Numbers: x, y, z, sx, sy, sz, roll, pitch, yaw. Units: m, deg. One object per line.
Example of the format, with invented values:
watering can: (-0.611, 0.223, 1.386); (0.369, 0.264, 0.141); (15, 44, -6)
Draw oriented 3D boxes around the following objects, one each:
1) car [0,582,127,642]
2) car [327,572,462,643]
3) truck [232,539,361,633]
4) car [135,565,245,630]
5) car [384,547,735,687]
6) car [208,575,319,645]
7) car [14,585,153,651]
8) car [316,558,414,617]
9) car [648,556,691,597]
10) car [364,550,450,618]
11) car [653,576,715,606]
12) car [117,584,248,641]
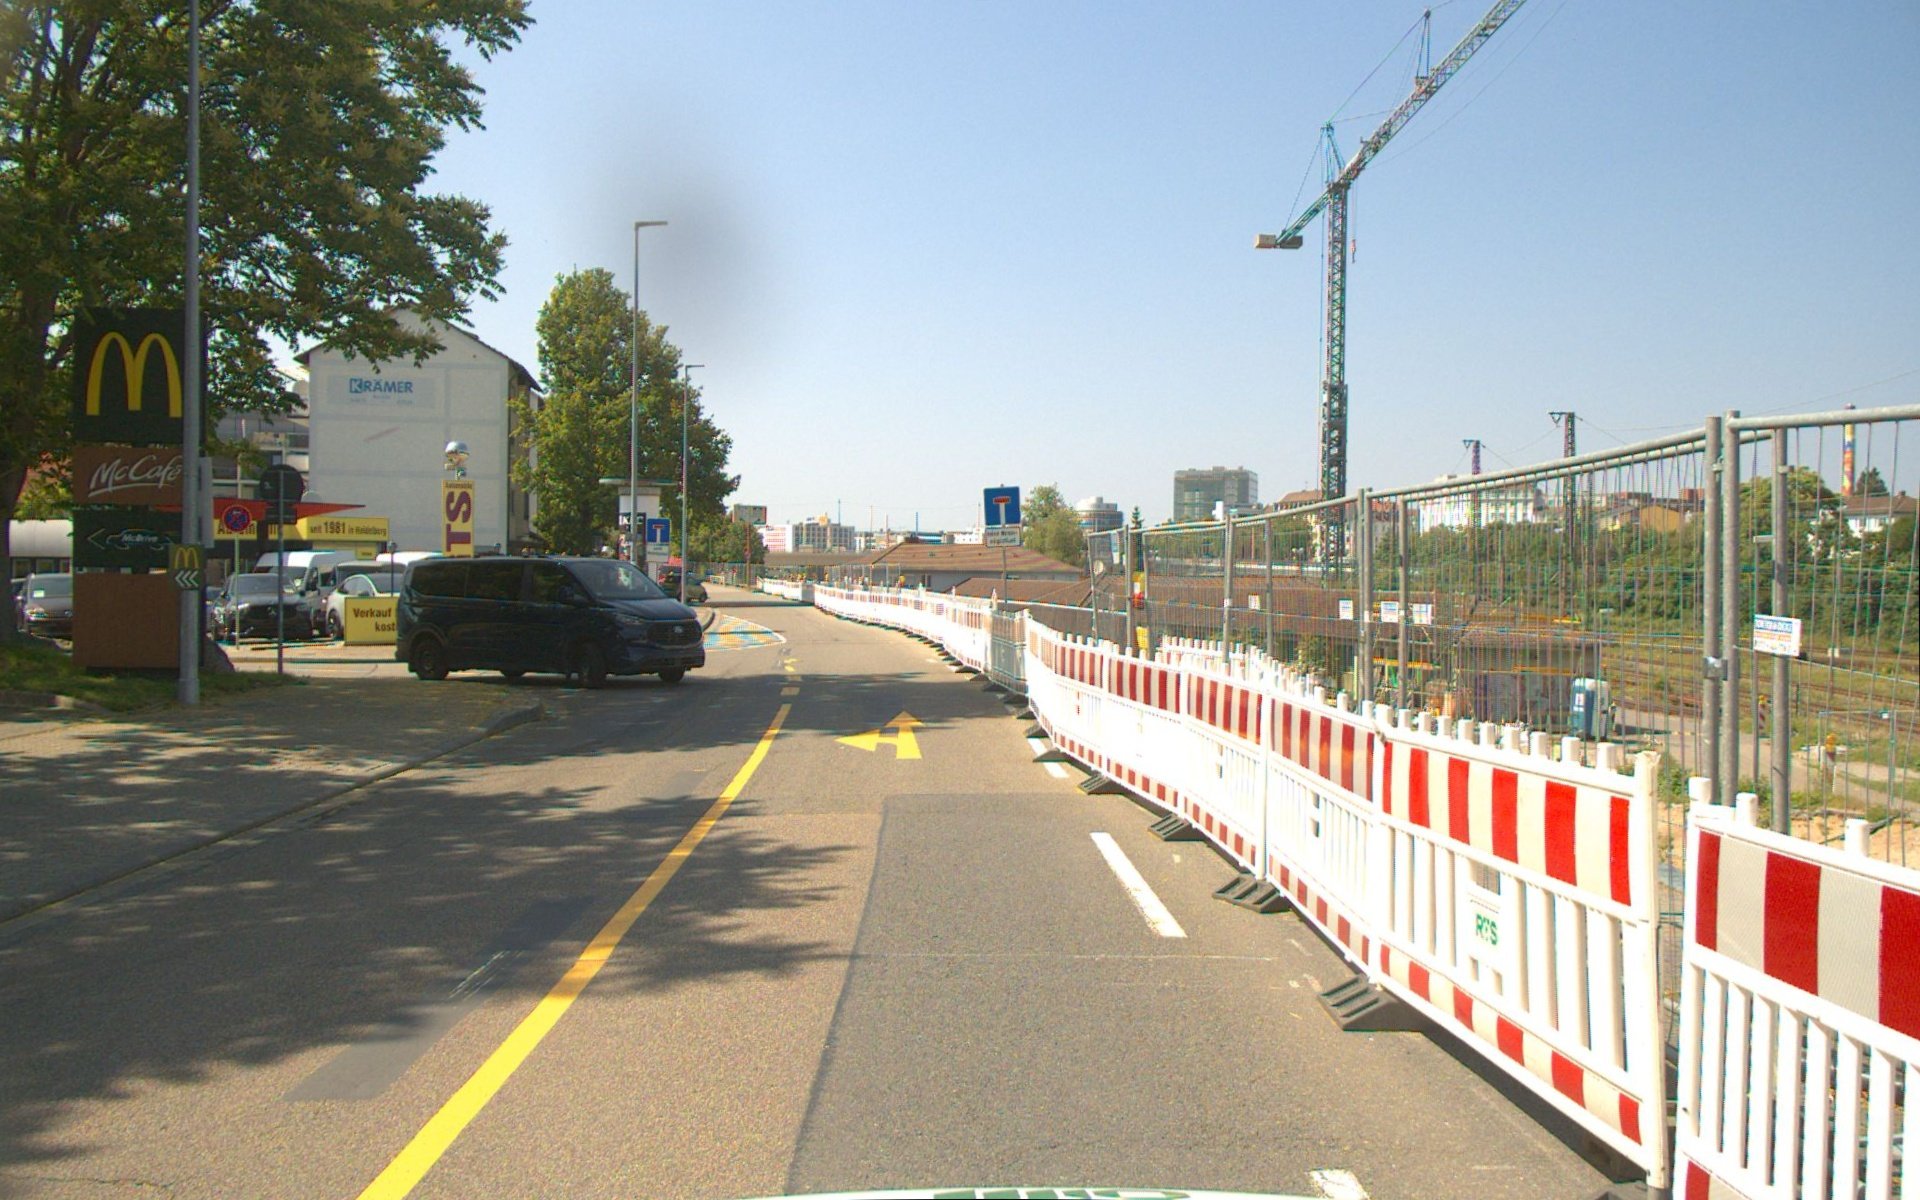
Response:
car: (-26.017, 0.331, 46.429); (4.303, 1.613, 1.967); (1, 0, -45)
car: (-14.749, 0.184, 43.037); (1.982, 1.756, 3.940); (1, 0, -41)
truck: (-22.325, -0.455, 55.931); (2.224, 2.954, 5.938); (2, 0, -4)
car: (-25.497, -0.081, 54.944); (1.955, 2.049, 4.489); (1, 0, -6)
car: (-6.316, 0.248, 25.917); (5.326, 2.002, 2.179); (-1, 1, 31)
car: (-17.304, 0.241, 40.976); (2.024, 1.622, 4.380); (1, 0, -29)
car: (-21.759, 0.424, 41.224); (1.754, 1.536, 3.993); (1, 0, -8)
car: (-19.260, -0.410, 53.712); (1.841, 1.768, 4.717); (2, 0, -6)
car: (-19.355, -1.542, 110.527); (2.489, 2.564, 5.110); (1, 0, -7)
car: (-19.917, -0.567, 59.712); (2.096, 2.324, 4.702); (1, 0, -8)
car: (-16.142, -0.537, 96.858); (1.696, 1.666, 3.261); (1, 0, 42)
car: (-22.073, 0.349, 47.107); (1.751, 1.513, 4.000); (1, 0, 1)
